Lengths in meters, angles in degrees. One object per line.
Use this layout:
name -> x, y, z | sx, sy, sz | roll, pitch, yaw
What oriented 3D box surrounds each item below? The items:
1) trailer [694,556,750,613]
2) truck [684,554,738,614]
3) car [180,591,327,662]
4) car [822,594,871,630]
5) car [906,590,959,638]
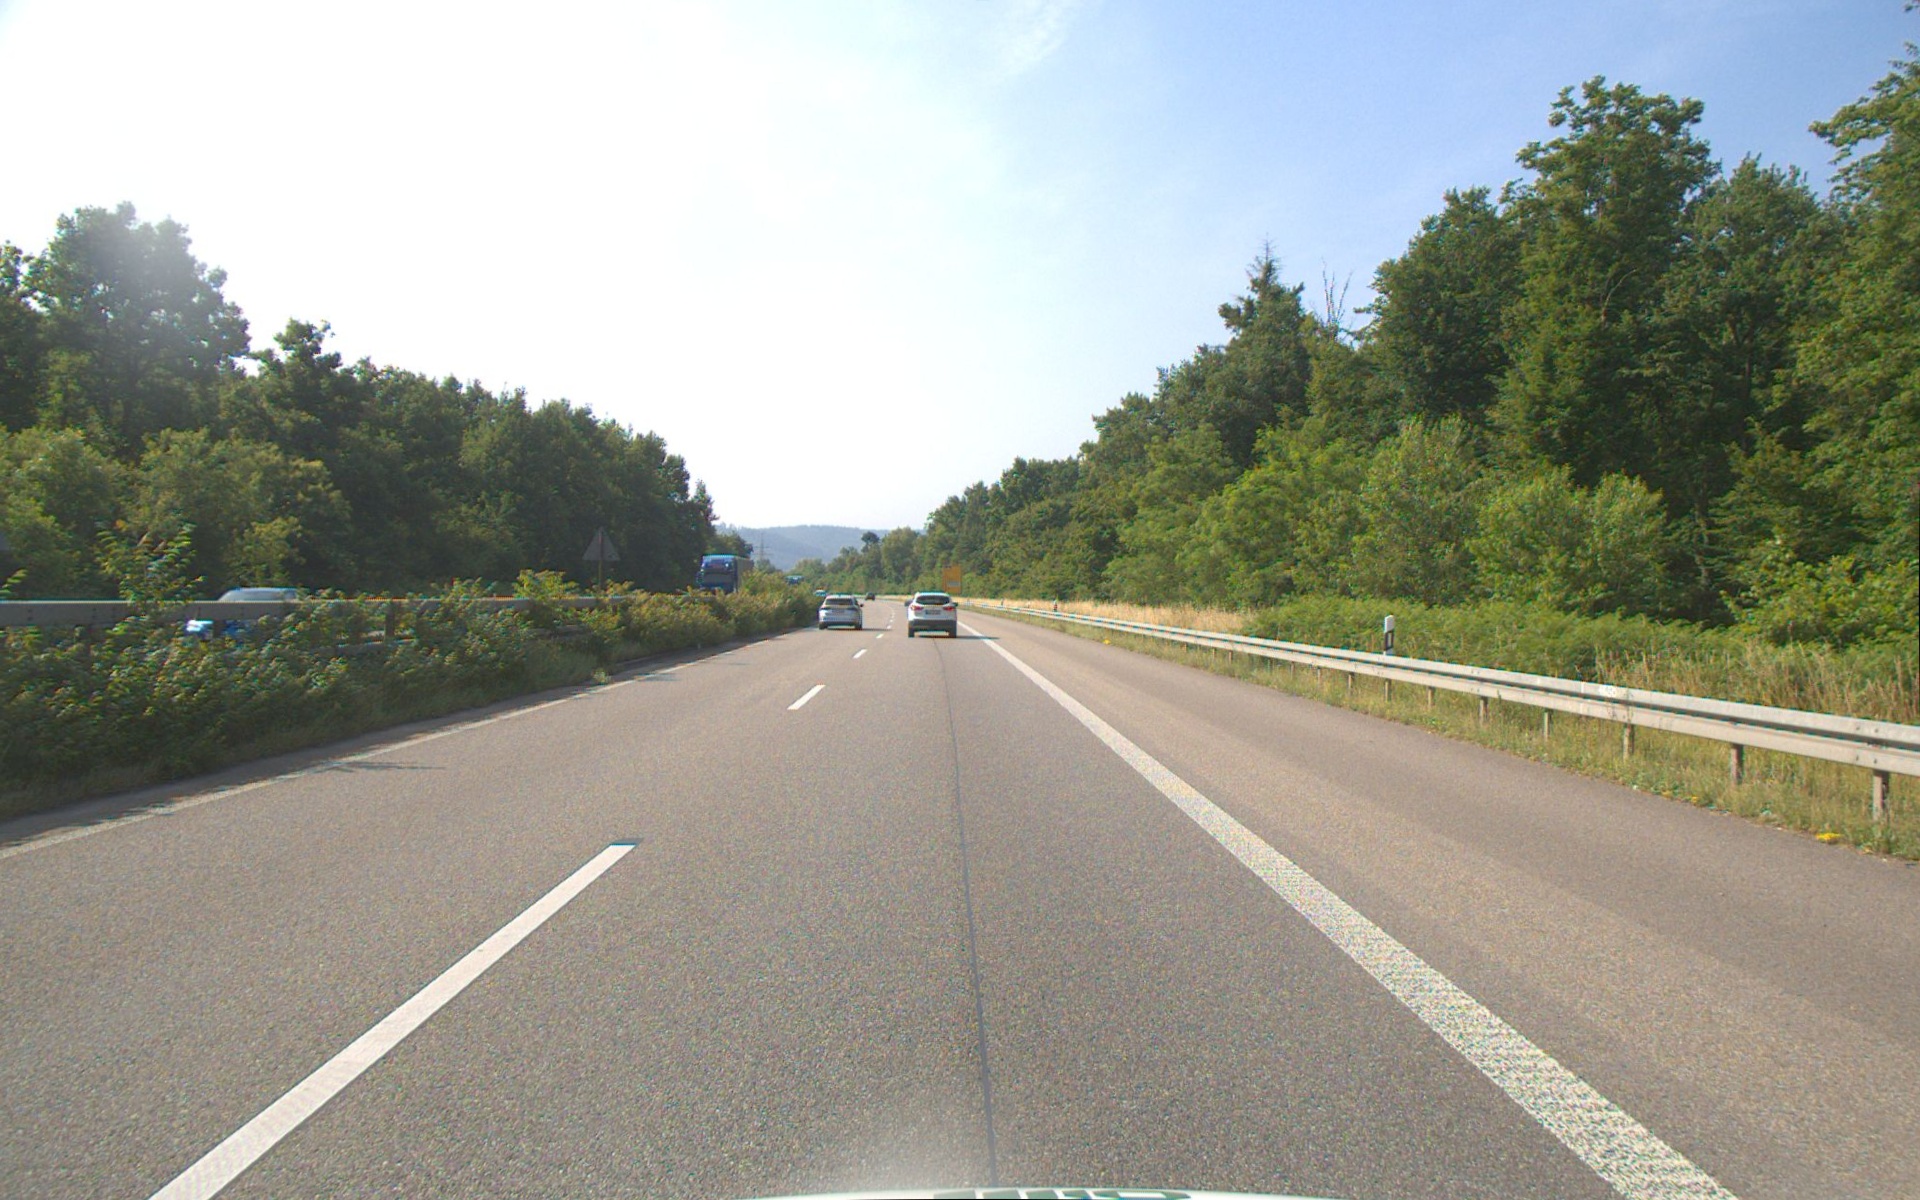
trailer -> -17.852, -1.169, 124.648 | 2.774, 4.068, 11.430 | 1, 0, -1
truck -> -17.743, -1.131, 118.342 | 2.728, 4.068, 8.414 | 1, 0, -1
car -> -15.350, 0.539, 36.132 | 1.525, 1.454, 3.909 | 1, 0, 0
car -> -4.907, 0.501, 72.051 | 1.755, 1.463, 5.278 | 0, 0, 0
car -> -1.013, 0.473, 60.606 | 1.836, 1.614, 3.999 | 3, 1, -1
